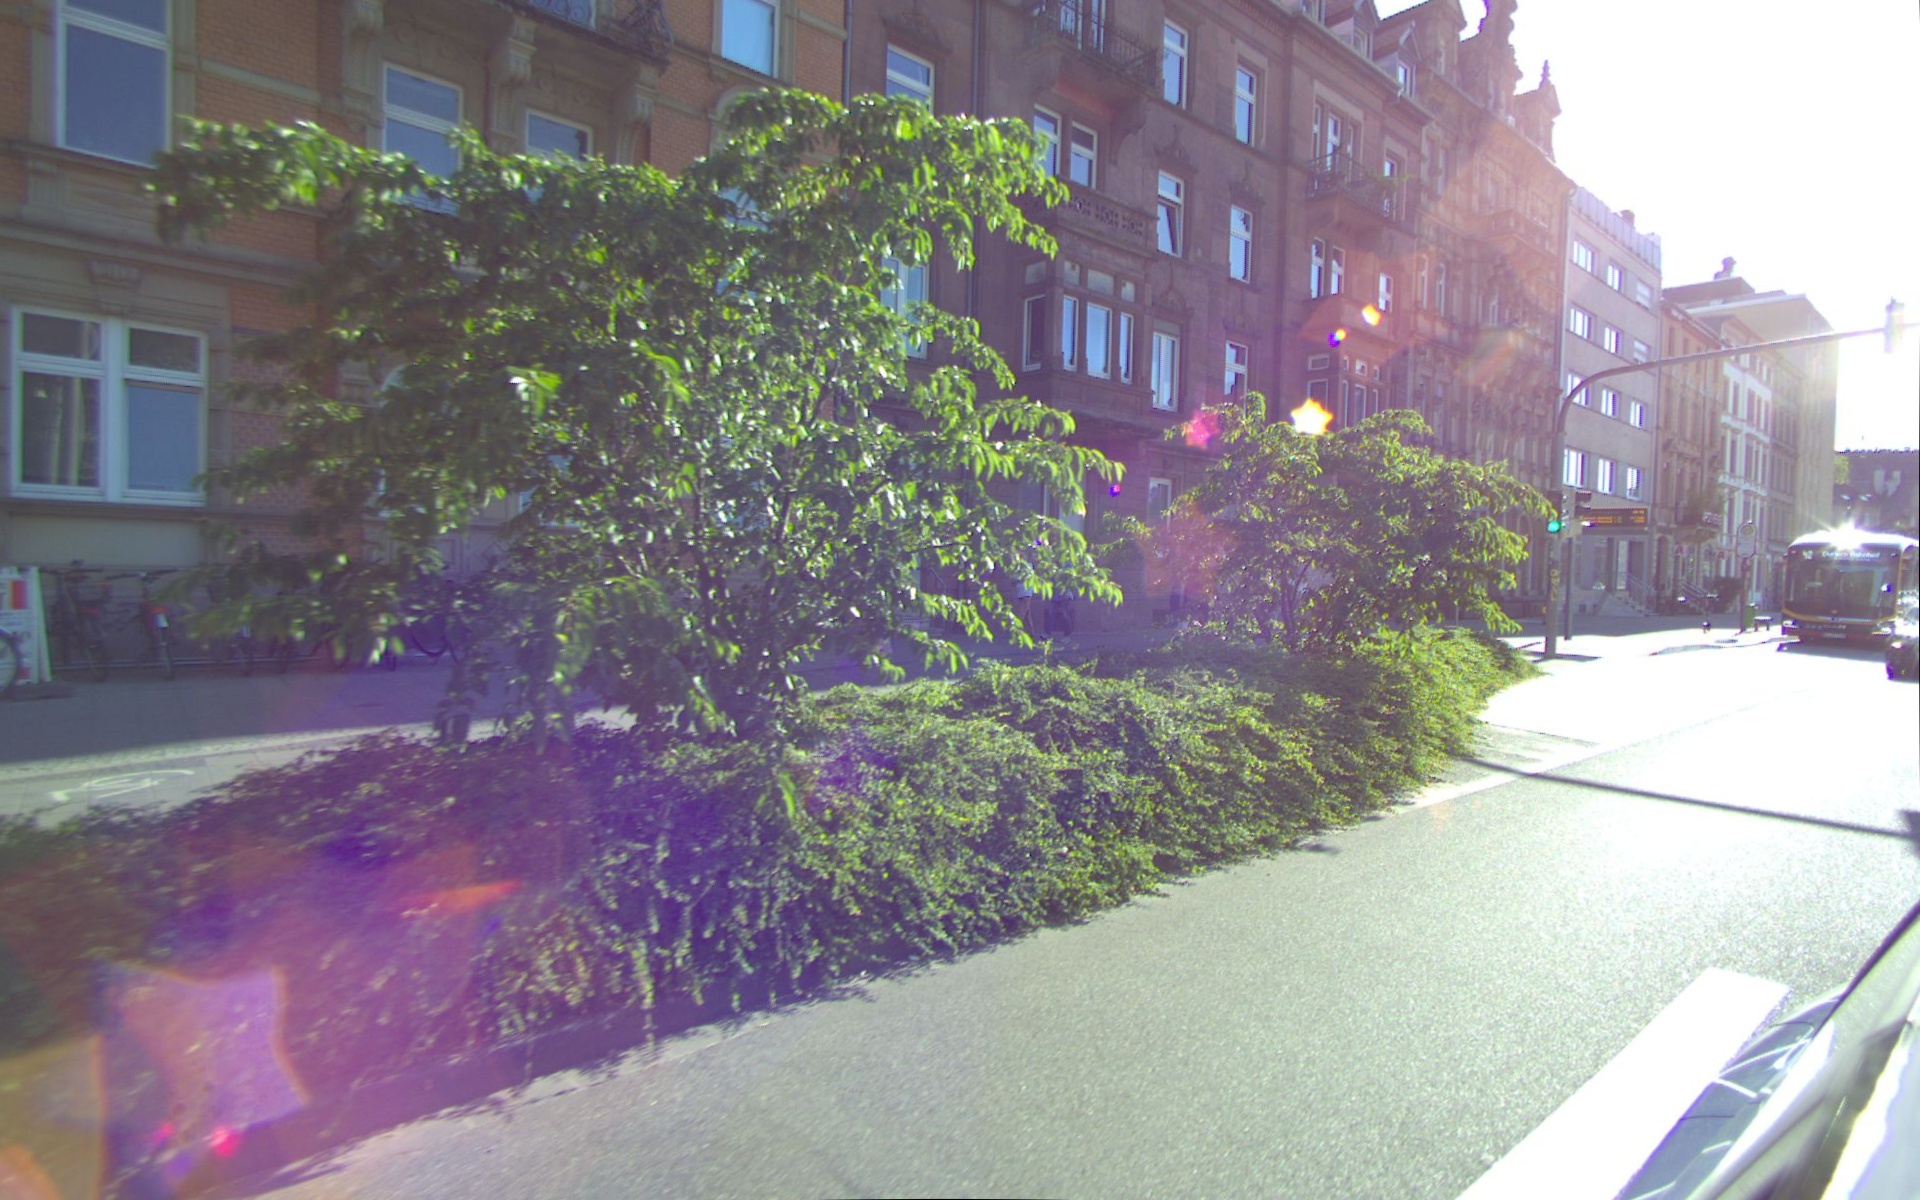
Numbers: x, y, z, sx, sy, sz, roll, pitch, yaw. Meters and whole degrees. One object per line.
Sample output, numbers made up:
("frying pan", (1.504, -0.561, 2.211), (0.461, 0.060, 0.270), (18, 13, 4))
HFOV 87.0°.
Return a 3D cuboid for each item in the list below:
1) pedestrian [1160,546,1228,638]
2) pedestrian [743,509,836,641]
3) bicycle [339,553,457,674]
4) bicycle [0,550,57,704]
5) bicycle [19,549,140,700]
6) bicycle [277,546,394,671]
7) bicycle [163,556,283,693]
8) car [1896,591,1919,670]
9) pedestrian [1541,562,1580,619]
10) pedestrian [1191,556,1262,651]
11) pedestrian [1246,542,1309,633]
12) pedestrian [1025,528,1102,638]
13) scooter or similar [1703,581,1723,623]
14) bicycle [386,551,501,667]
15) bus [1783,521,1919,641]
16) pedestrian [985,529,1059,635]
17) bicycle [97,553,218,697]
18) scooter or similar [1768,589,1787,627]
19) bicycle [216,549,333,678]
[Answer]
("pedestrian", (4.416, -0.156, 19.084), (1.117, 1.676, 0.704), (0, 2, -41))
("pedestrian", (-2.627, -0.390, 15.612), (1.117, 1.954, 0.824), (0, 2, -41))
("bicycle", (-6.505, 0.111, 11.682), (1.879, 1.253, 0.484), (4, 4, 38))
("bicycle", (-8.449, 0.236, 8.018), (0.488, 1.253, 1.863), (4, 4, 40))
("bicycle", (-8.289, 0.178, 9.505), (1.879, 1.253, 0.484), (4, 4, 38))
("bicycle", (-7.034, 0.050, 11.365), (1.879, 1.253, 0.484), (4, 4, 38))
("bicycle", (-7.663, 0.208, 10.497), (1.879, 1.253, 0.484), (4, 4, 38))
("car", (18.958, 0.552, 18.881), (3.763, 1.405, 1.694), (0, 1, -39))
("pedestrian", (20.145, -0.319, 33.948), (0.766, 1.856, 0.853), (4, 1, -42))
("pedestrian", (4.879, 0.045, 18.498), (1.117, 1.676, 0.704), (0, 2, -41))
("pedestrian", (7.051, -0.287, 22.441), (1.117, 1.954, 0.824), (0, 2, -41))
("pedestrian", (1.914, -0.318, 18.635), (1.117, 1.954, 0.824), (0, 2, -41))
("scooter or similar", (23.890, 0.060, 32.109), (0.430, 1.264, 1.278), (4, 4, 37))
("bicycle", (-6.246, 0.062, 12.193), (1.879, 1.253, 0.484), (4, 4, 38))
("bus", (29.327, -0.616, 32.203), (12.322, 3.219, 2.721), (0, 3, -41))
("pedestrian", (1.188, -0.356, 19.426), (1.117, 1.954, 0.824), (0, 2, -41))
("bicycle", (-7.952, 0.195, 9.998), (1.879, 1.253, 0.484), (4, 4, 38))
("scooter or similar", (28.183, 0.264, 34.873), (0.431, 1.264, 1.277), (4, 4, 39))
("bicycle", (-7.448, 0.099, 10.962), (1.879, 1.253, 0.484), (4, 4, 38))
